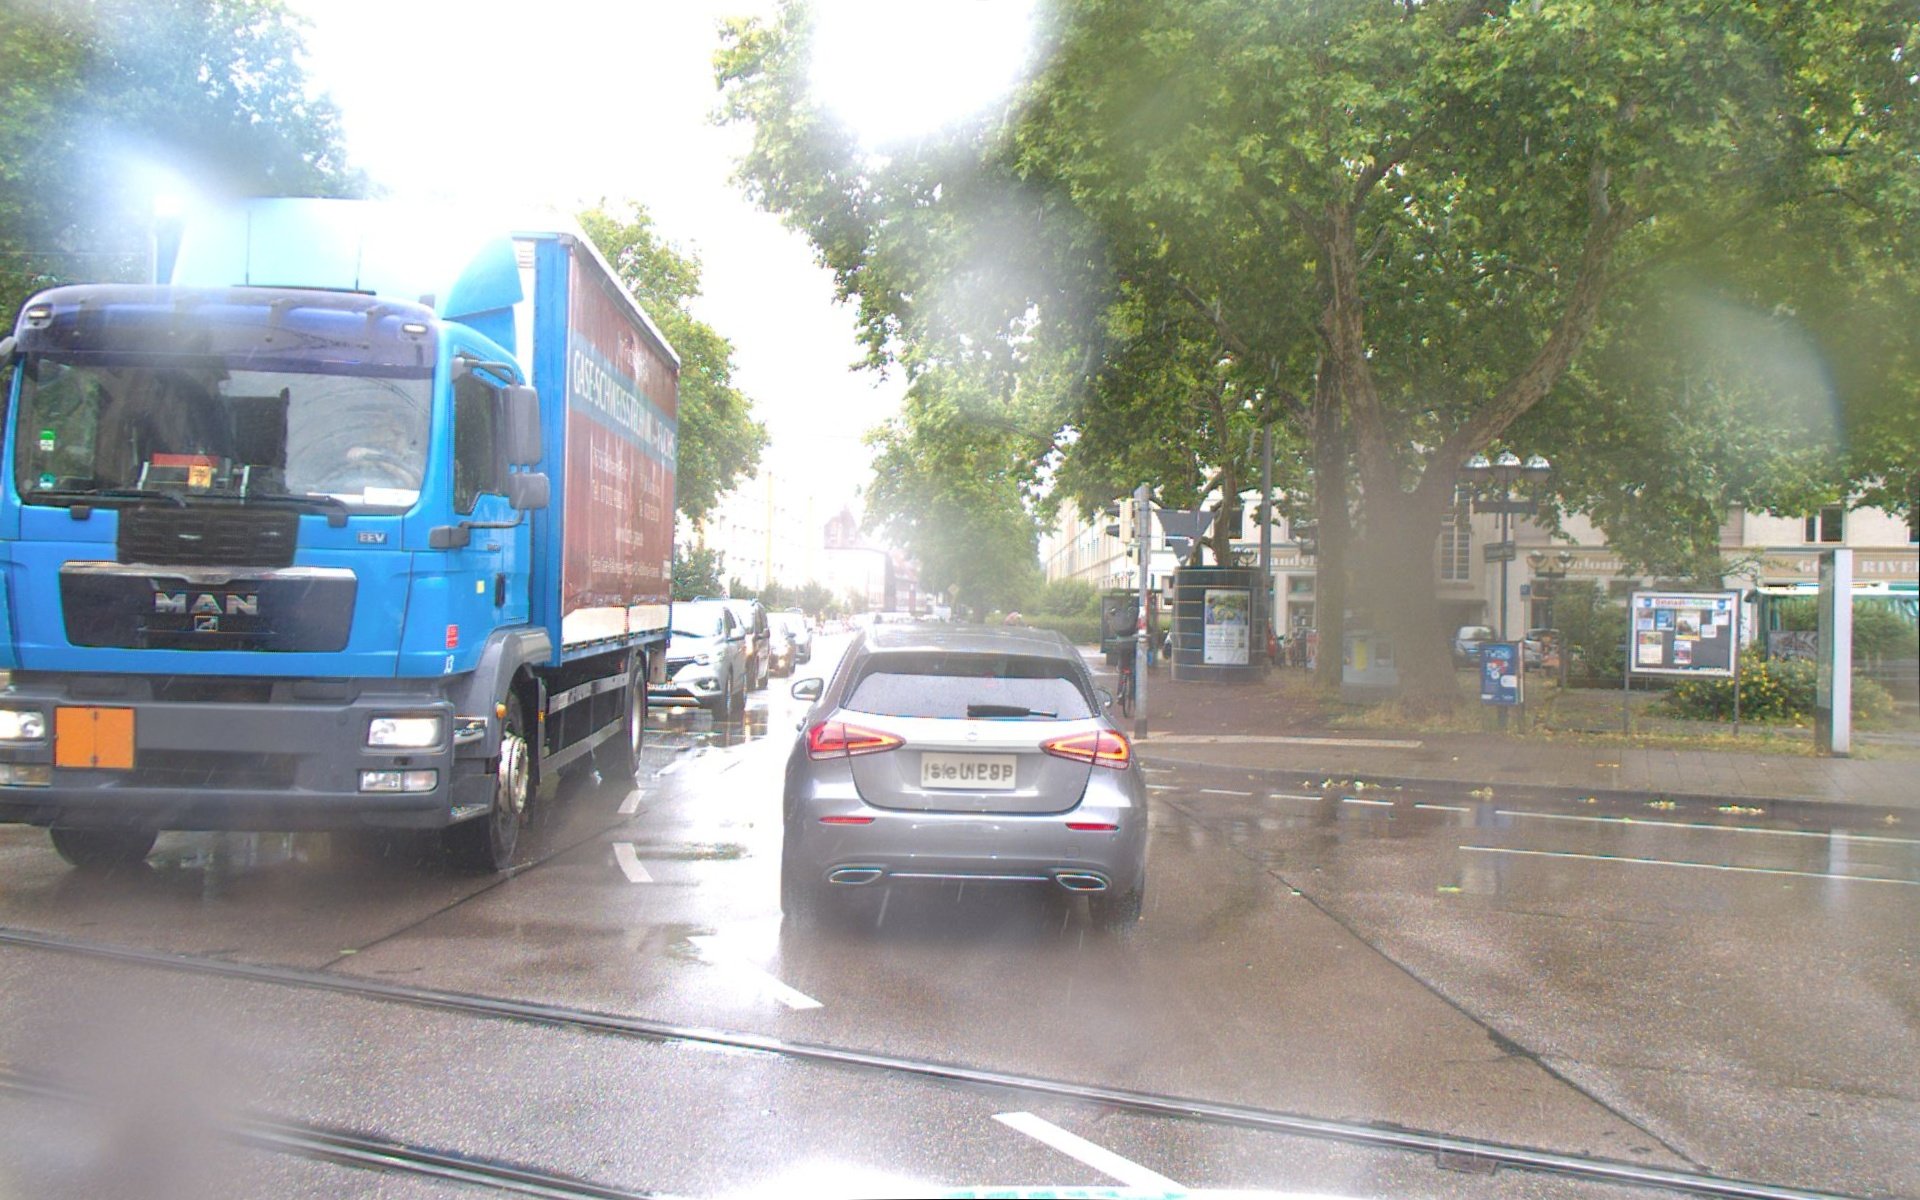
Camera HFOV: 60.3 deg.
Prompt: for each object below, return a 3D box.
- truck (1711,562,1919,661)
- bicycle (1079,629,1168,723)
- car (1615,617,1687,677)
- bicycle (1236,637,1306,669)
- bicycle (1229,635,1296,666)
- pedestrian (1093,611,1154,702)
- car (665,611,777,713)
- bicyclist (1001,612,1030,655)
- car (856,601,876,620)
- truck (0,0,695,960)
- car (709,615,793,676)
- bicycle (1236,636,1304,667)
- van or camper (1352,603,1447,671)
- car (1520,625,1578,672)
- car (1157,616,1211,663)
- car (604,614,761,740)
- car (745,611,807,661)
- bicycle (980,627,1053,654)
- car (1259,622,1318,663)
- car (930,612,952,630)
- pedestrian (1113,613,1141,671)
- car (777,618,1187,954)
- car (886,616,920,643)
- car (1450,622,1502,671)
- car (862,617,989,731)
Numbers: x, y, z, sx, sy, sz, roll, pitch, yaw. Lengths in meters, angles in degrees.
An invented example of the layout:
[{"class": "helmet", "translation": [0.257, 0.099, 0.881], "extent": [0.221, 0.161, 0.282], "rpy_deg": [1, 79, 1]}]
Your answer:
[{"class": "truck", "translation": [25.320, 0.344, 47.934], "extent": [6.246, 2.747, 2.268], "rpy_deg": [1, -1, 19]}, {"class": "bicycle", "translation": [2.648, 1.175, 26.498], "extent": [0.734, 1.401, 2.707], "rpy_deg": [0, -1, 21]}, {"class": "car", "translation": [22.993, 1.592, 55.138], "extent": [2.111, 1.870, 3.999], "rpy_deg": [1, -3, 22]}, {"class": "bicycle", "translation": [10.315, 1.758, 54.872], "extent": [2.234, 1.000, 0.545], "rpy_deg": [1, -1, 21]}, {"class": "bicycle", "translation": [10.374, 1.727, 56.708], "extent": [2.200, 0.985, 0.585], "rpy_deg": [1, -1, 21]}, {"class": "pedestrian", "translation": [2.623, 0.884, 26.455], "extent": [0.729, 1.422, 1.047], "rpy_deg": [0, -1, 21]}, {"class": "car", "translation": [-4.741, 1.182, 33.285], "extent": [1.770, 1.894, 4.107], "rpy_deg": [1, -1, -2]}, {"class": "bicyclist", "translation": [2.486, 1.516, 74.195], "extent": [0.925, 1.901, 1.135], "rpy_deg": [1, -3, -21]}, {"class": "car", "translation": [-9.962, 1.125, 175.889], "extent": [1.850, 1.868, 4.000], "rpy_deg": [1, -1, 1]}, {"class": "truck", "translation": [-3.872, -0.548, 11.903], "extent": [2.789, 4.096, 10.309], "rpy_deg": [0, 0, -3]}, {"class": "car", "translation": [-5.330, 1.165, 42.619], "extent": [1.707, 1.414, 4.360], "rpy_deg": [2, -1, -2]}, {"class": "bicycle", "translation": [10.424, 1.734, 55.623], "extent": [2.205, 0.985, 0.534], "rpy_deg": [1, -1, 21]}, {"class": "van or camper", "translation": [15.593, 1.298, 58.426], "extent": [2.349, 2.270, 5.426], "rpy_deg": [1, -1, 25]}, {"class": "car", "translation": [20.213, 1.675, 56.718], "extent": [1.645, 1.457, 3.734], "rpy_deg": [1, -3, 23]}, {"class": "car", "translation": [8.230, 1.463, 60.513], "extent": [1.652, 1.578, 3.525], "rpy_deg": [1, -3, 13]}, {"class": "car", "translation": [-3.907, 1.039, 23.878], "extent": [1.707, 1.632, 3.998], "rpy_deg": [1, -1, -2]}, {"class": "car", "translation": [-5.990, 1.162, 54.170], "extent": [1.809, 1.536, 4.052], "rpy_deg": [1, -1, -4]}, {"class": "bicycle", "translation": [2.544, 1.832, 74.252], "extent": [3.160, 1.132, 1.047], "rpy_deg": [1, -3, -22]}, {"class": "car", "translation": [11.859, 1.533, 59.667], "extent": [1.550, 1.360, 3.261], "rpy_deg": [0, -3, 21]}, {"class": "car", "translation": [-1.904, 2.147, 168.743], "extent": [2.004, 1.868, 4.792], "rpy_deg": [1, -1, 1]}, {"class": "pedestrian", "translation": [4.994, 1.257, 49.415], "extent": [0.702, 1.698, 0.664], "rpy_deg": [1, -1, -4]}, {"class": "car", "translation": [0.022, 0.841, 9.031], "extent": [1.755, 1.396, 3.505], "rpy_deg": [2, 0, -3]}, {"class": "car", "translation": [-3.473, 1.780, 100.286], "extent": [1.954, 1.601, 3.997], "rpy_deg": [1, -1, -4]}, {"class": "car", "translation": [17.917, 1.620, 57.382], "extent": [1.644, 1.603, 3.737], "rpy_deg": [1, -1, 18]}, {"class": "car", "translation": [-0.524, 0.938, 22.611], "extent": [1.575, 1.396, 3.998], "rpy_deg": [0, 0, -3]}]
